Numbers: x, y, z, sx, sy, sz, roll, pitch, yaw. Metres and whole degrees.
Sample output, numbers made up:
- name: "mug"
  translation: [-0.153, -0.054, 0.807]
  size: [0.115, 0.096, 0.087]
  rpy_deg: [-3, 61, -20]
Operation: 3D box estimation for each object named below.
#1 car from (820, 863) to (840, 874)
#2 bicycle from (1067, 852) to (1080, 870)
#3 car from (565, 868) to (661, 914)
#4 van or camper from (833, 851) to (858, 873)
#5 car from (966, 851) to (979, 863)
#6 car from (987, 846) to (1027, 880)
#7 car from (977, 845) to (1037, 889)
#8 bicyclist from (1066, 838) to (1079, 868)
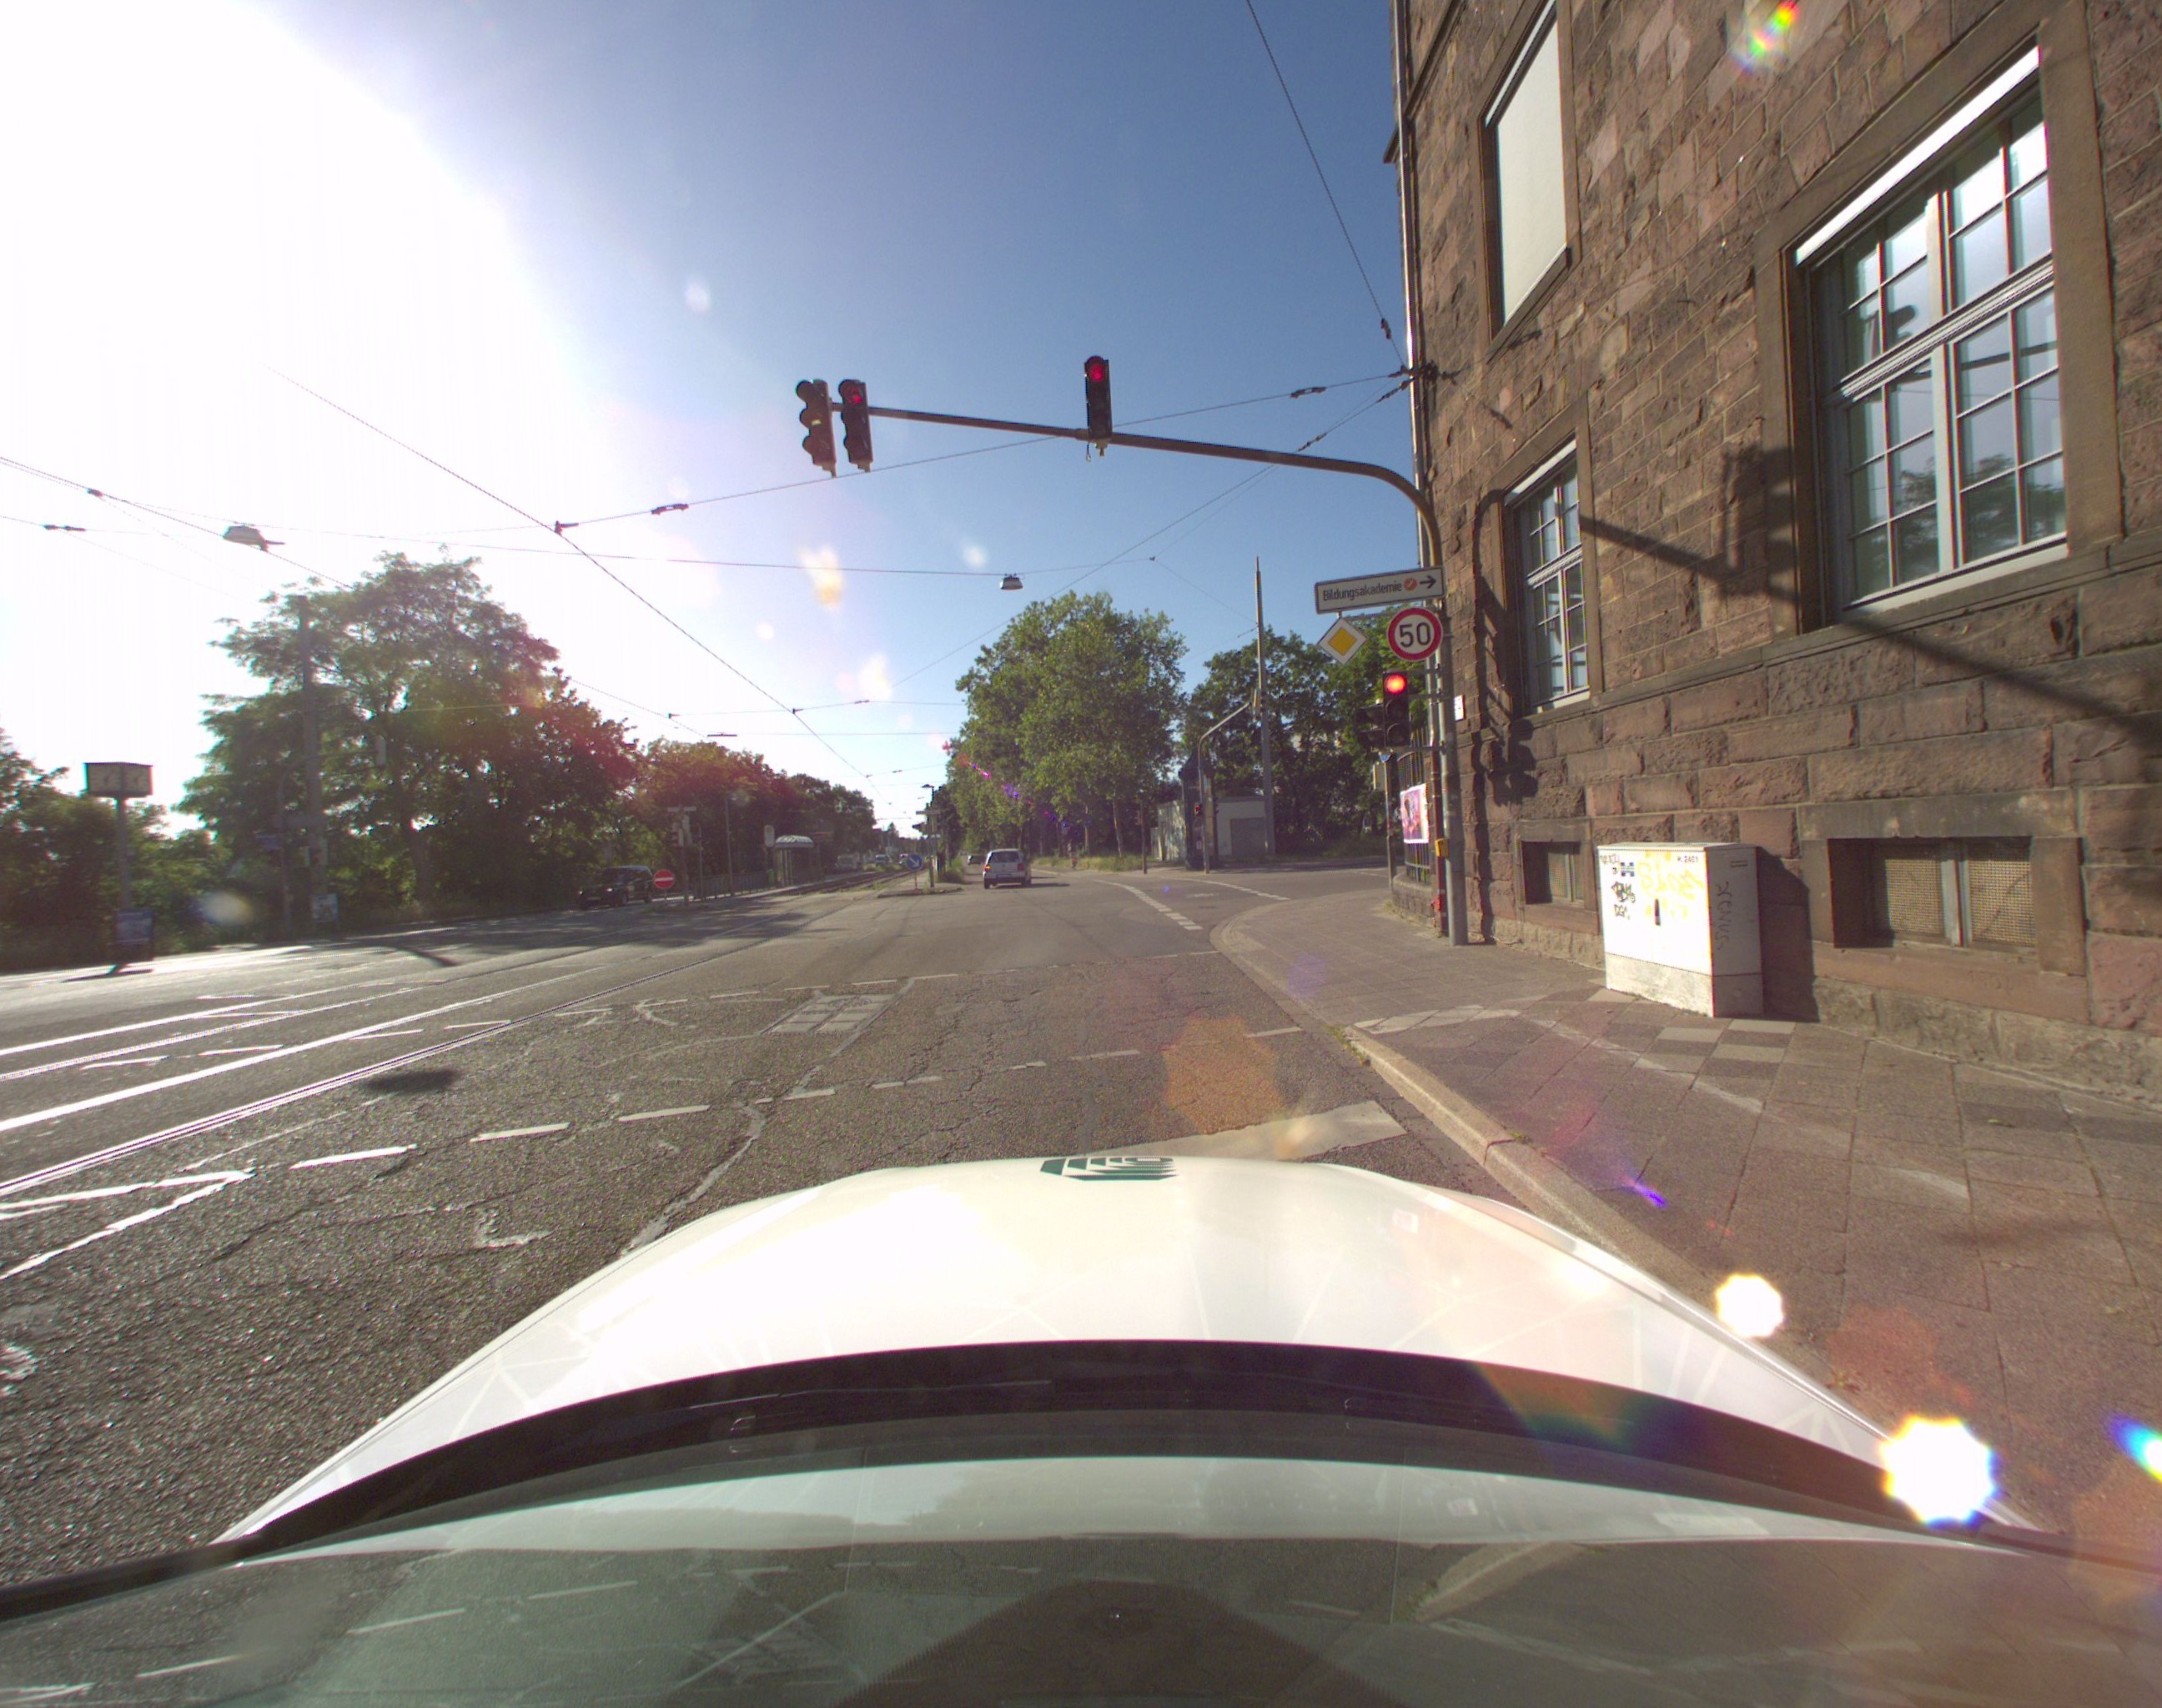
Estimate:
- name: "car"
  translation: [-34.415, 1.986, 111.775]
  size: [1.919, 1.266, 3.991]
  rpy_deg: [-4, 0, -7]
- name: "bicycle"
  translation: [-0.460, 0.409, 49.167]
  size: [0.536, 1.066, 1.428]
  rpy_deg: [-4, 0, -10]
- name: "car"
  translation: [-20.955, 1.598, 36.719]
  size: [1.994, 1.767, 5.014]
  rpy_deg: [-4, 0, -9]
- name: "van or camper"
  translation: [-35.848, 1.251, 124.235]
  size: [2.589, 3.106, 6.768]
  rpy_deg: [-4, 0, -9]
- name: "car"
  translation: [-15.688, 0.486, 117.803]
  size: [1.750, 1.604, 3.569]
  rpy_deg: [-4, 1, -9]
- name: "car"
  translation: [-3.920, 0.466, 42.641]
  size: [1.750, 1.604, 3.739]
  rpy_deg: [-4, 1, -9]
- name: "car"
  translation: [-2.778, 0.463, 31.301]
  size: [1.861, 1.486, 3.556]
  rpy_deg: [-3, 0, 1]
- name: "bicyclist"
  translation: [-0.505, -0.033, 49.258]
  size: [0.534, 1.769, 0.710]
  rpy_deg: [-4, 0, -11]
